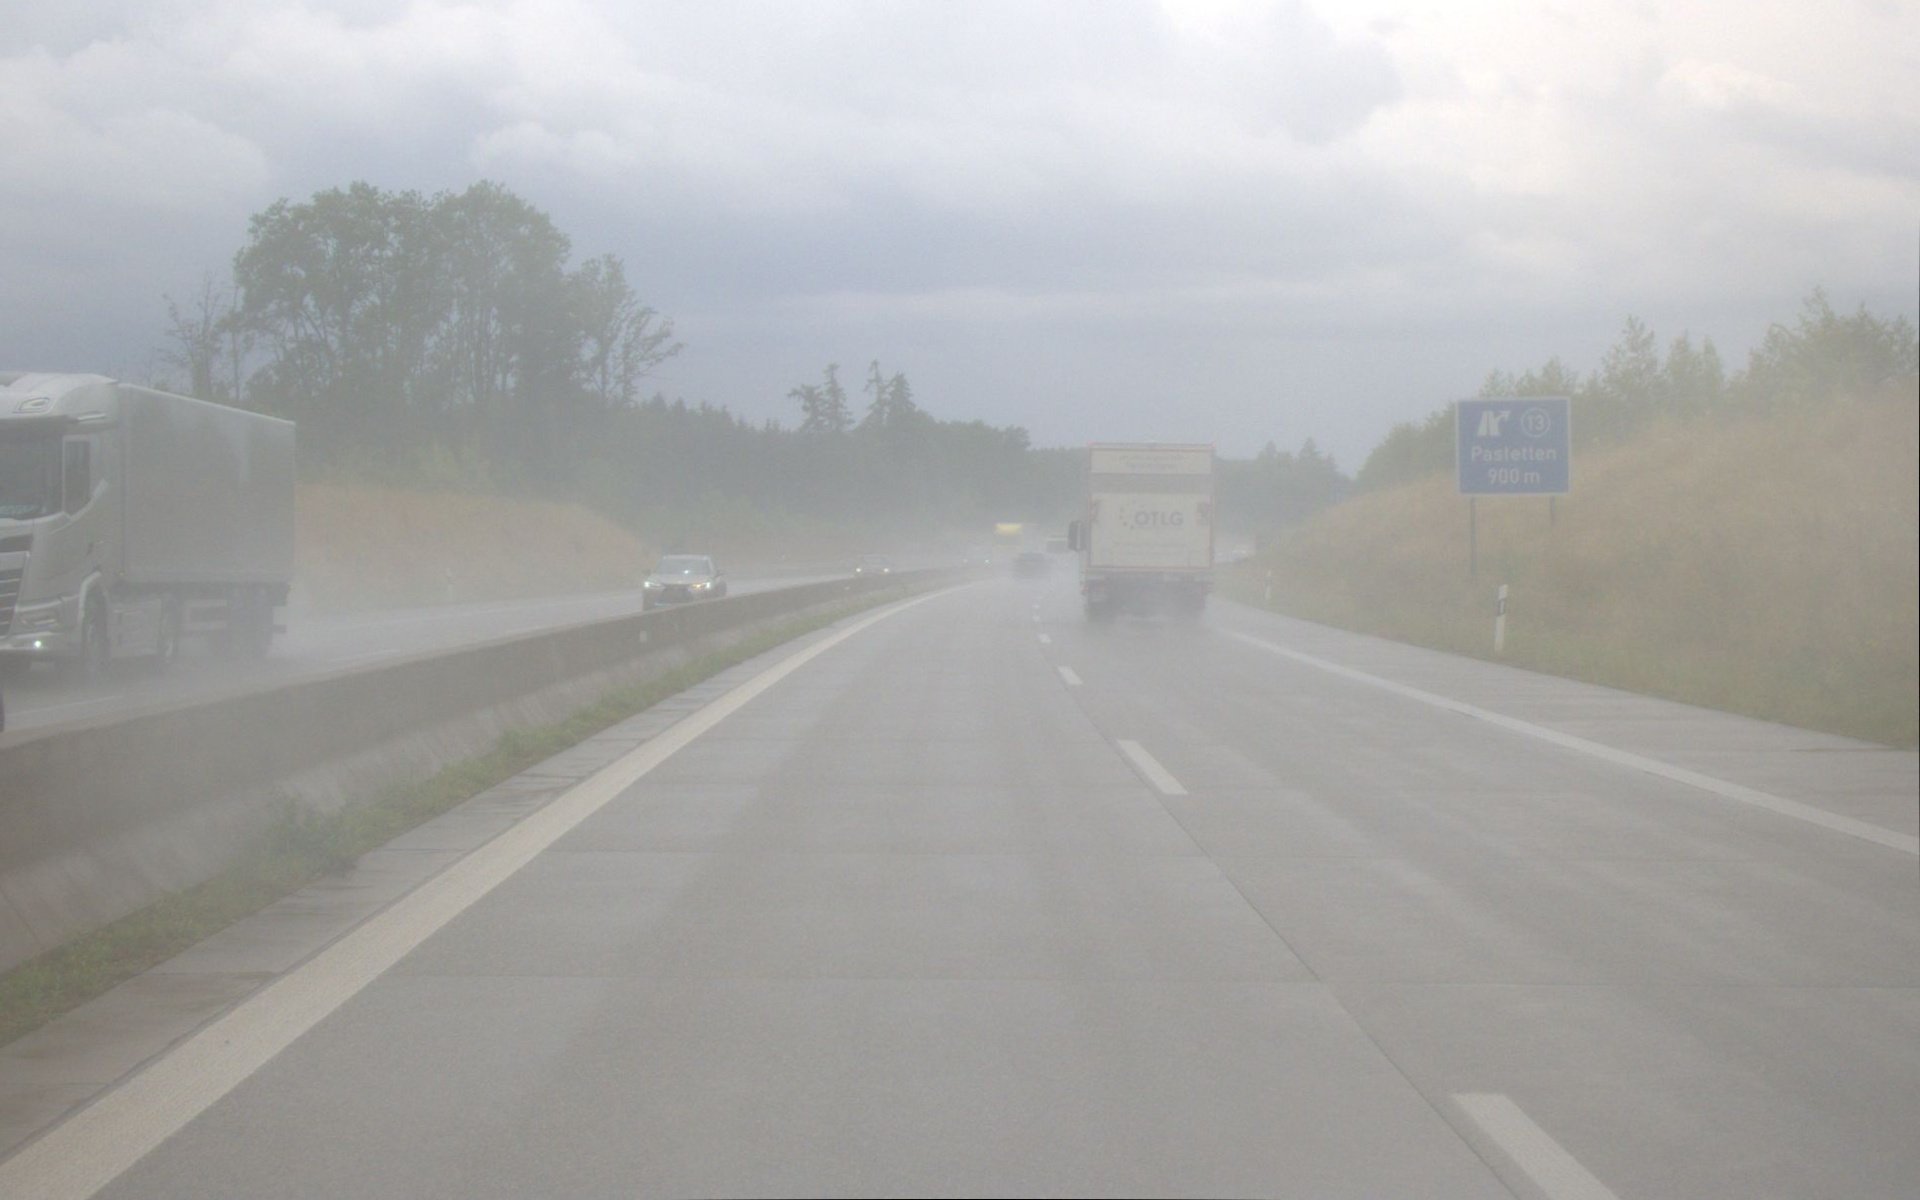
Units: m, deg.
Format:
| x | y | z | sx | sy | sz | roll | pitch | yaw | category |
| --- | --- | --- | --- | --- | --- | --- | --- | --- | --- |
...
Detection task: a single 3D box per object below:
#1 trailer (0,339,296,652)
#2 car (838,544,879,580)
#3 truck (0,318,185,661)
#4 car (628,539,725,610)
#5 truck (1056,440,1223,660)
| x | y | z | sx | sy | sz | roll | pitch | yaw | category |
| --- | --- | --- | --- | --- | --- | --- | --- | --- | --- |
| -11.372 | -1.422 | 46.891 | 2.904 | 3.827 | 9.360 | 1 | 2 | -1 | trailer |
| -4.613 | -1.742 | 156.676 | 1.623 | 1.423 | 4.001 | -2 | 3 | 1 | car |
| -11.309 | -1.292 | 41.293 | 2.885 | 3.856 | 5.195 | 0 | 1 | -1 | truck |
| -7.083 | -0.666 | 86.192 | 1.993 | 1.513 | 4.189 | -2 | 3 | 1 | car |
| 3.731 | -1.142 | 73.260 | 3.243 | 4.421 | 8.246 | 0 | 2 | 1 | truck |
